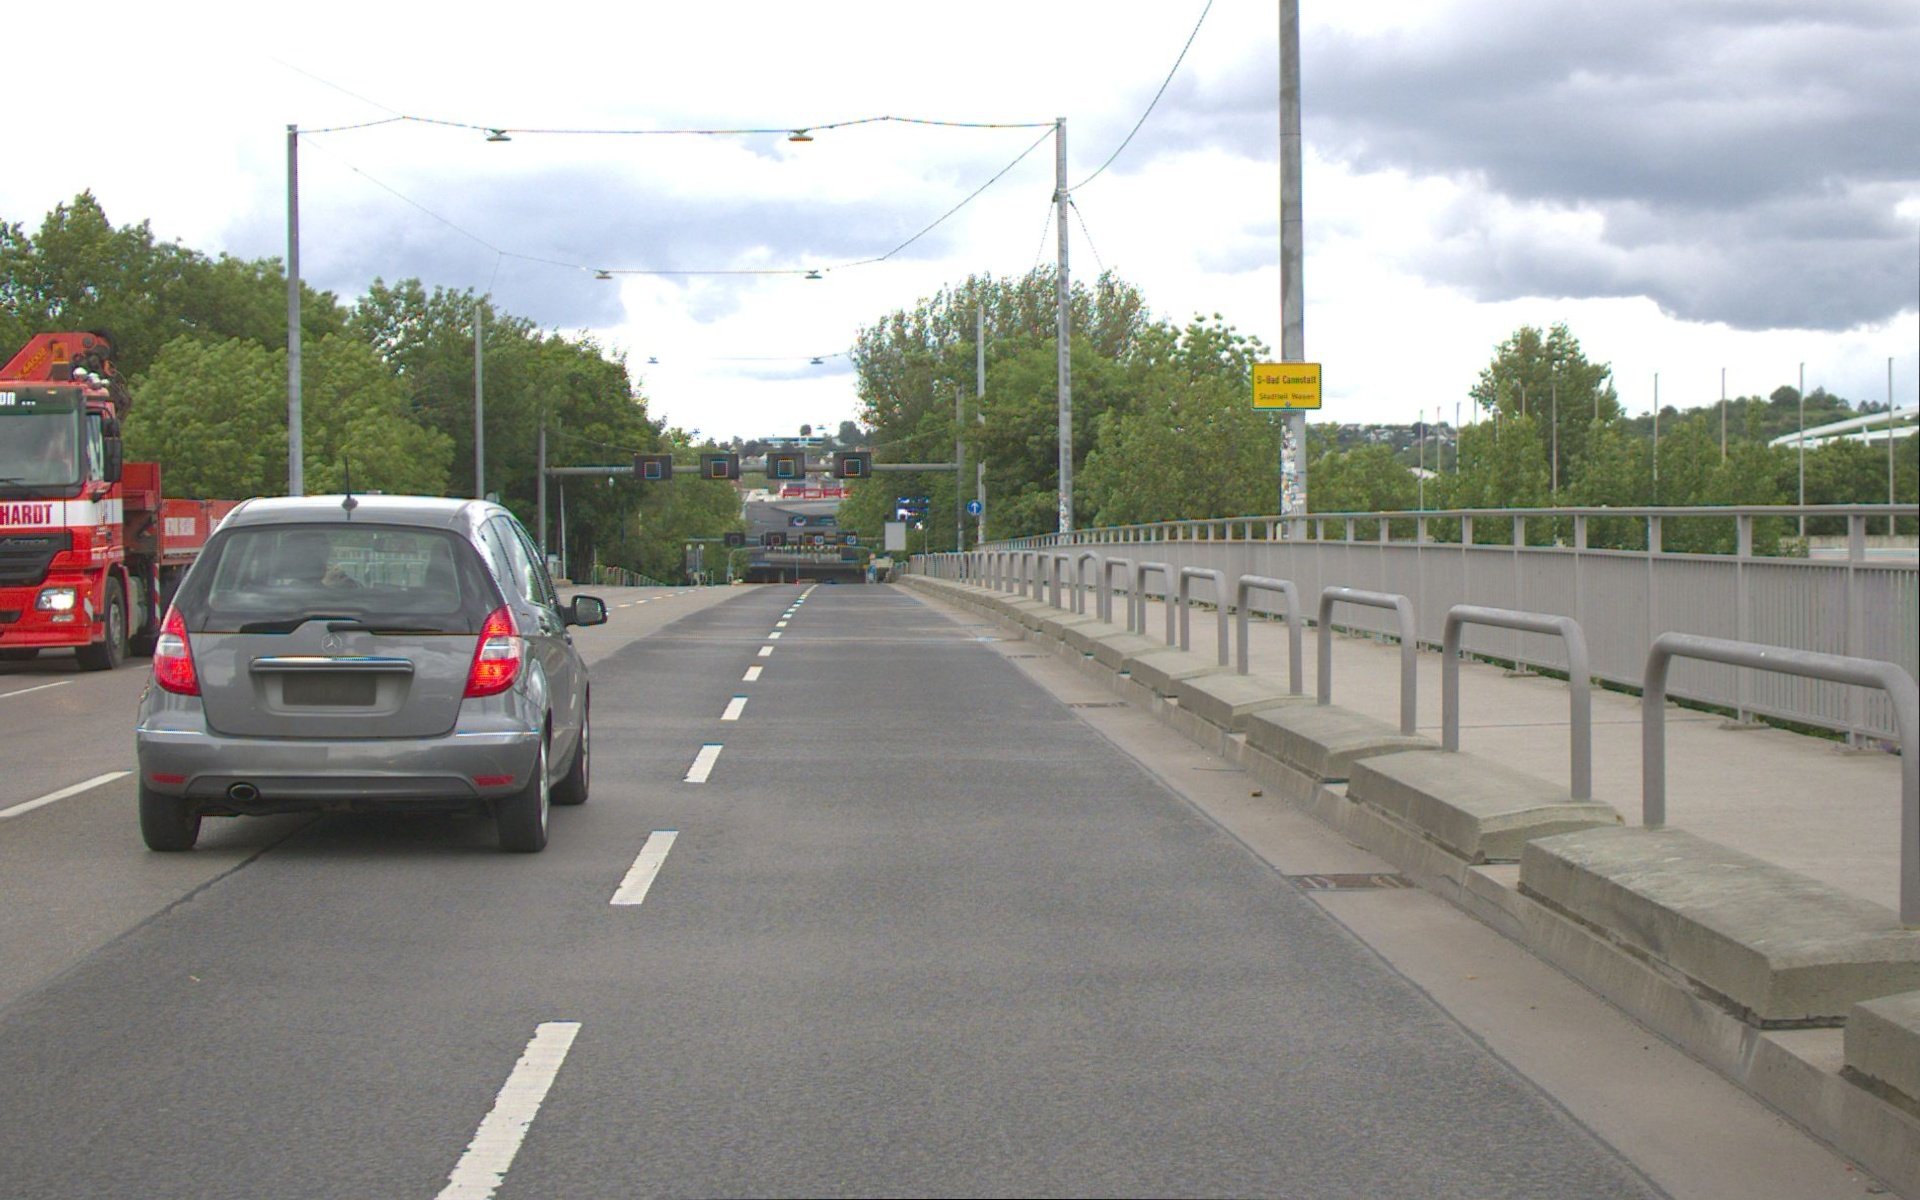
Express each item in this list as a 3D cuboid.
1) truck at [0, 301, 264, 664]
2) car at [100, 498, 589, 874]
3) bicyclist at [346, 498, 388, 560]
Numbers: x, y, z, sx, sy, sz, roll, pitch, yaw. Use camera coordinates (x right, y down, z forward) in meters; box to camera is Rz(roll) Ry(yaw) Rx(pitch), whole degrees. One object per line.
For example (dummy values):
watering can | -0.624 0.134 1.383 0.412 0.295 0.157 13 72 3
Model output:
truck | -10.220 -1.239 38.790 3.005 3.553 9.983 -1 1 -2
car | -2.764 0.321 16.210 1.745 1.545 3.872 1 1 -2
bicyclist | -16.993 -2.020 98.552 1.132 1.758 0.905 0 0 -7
